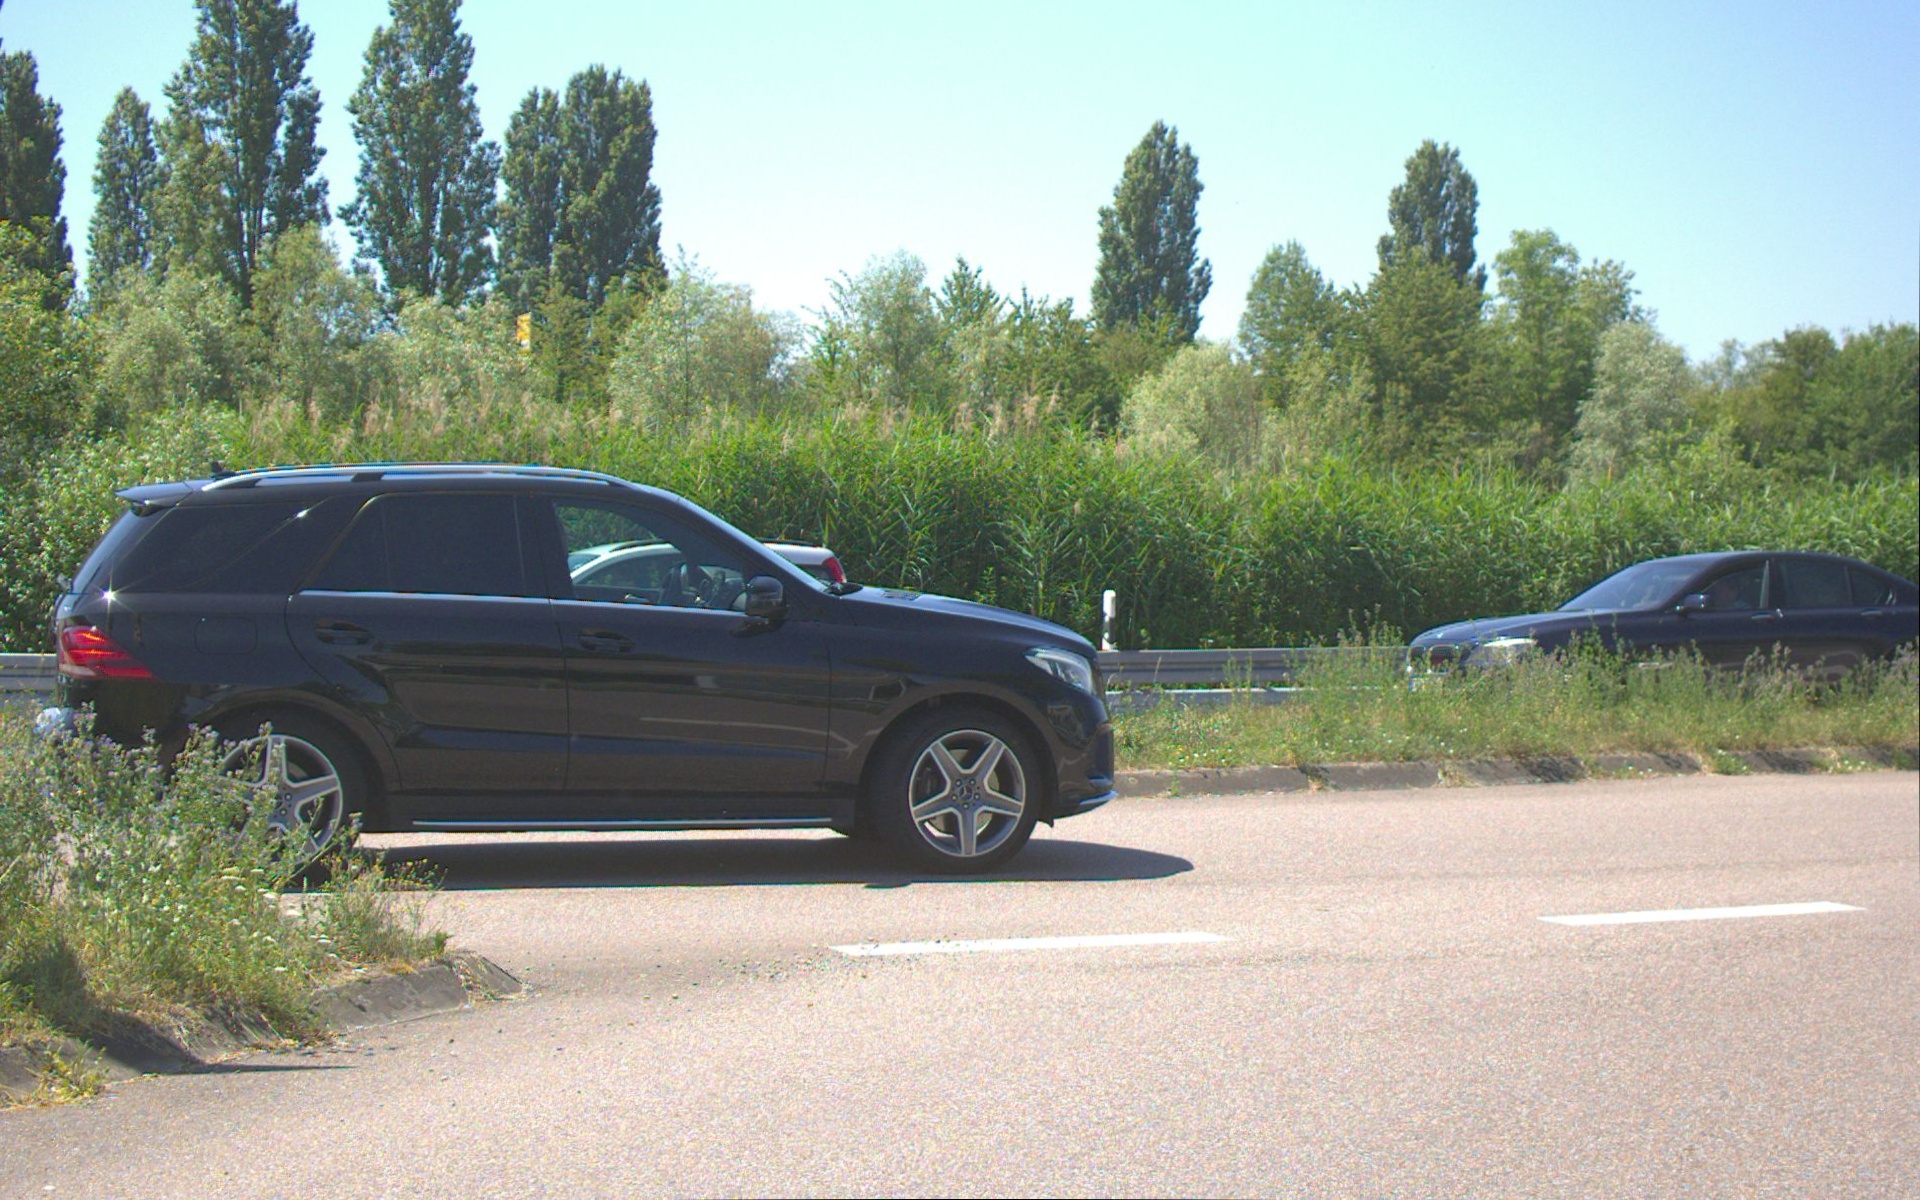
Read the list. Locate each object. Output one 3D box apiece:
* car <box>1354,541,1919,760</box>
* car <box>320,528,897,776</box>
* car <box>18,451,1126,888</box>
[{"bbox_3d":[5.817,0.349,27.627,4.923,1.626,1.934,-1,1,-21],"label":"car"},{"bbox_3d":[-2.489,0.320,24.279,3.705,1.626,1.735,-1,1,-23],"label":"car"},{"bbox_3d":[-1.739,0.280,15.262,4.581,1.761,1.934,1,1,-12],"label":"car"}]
